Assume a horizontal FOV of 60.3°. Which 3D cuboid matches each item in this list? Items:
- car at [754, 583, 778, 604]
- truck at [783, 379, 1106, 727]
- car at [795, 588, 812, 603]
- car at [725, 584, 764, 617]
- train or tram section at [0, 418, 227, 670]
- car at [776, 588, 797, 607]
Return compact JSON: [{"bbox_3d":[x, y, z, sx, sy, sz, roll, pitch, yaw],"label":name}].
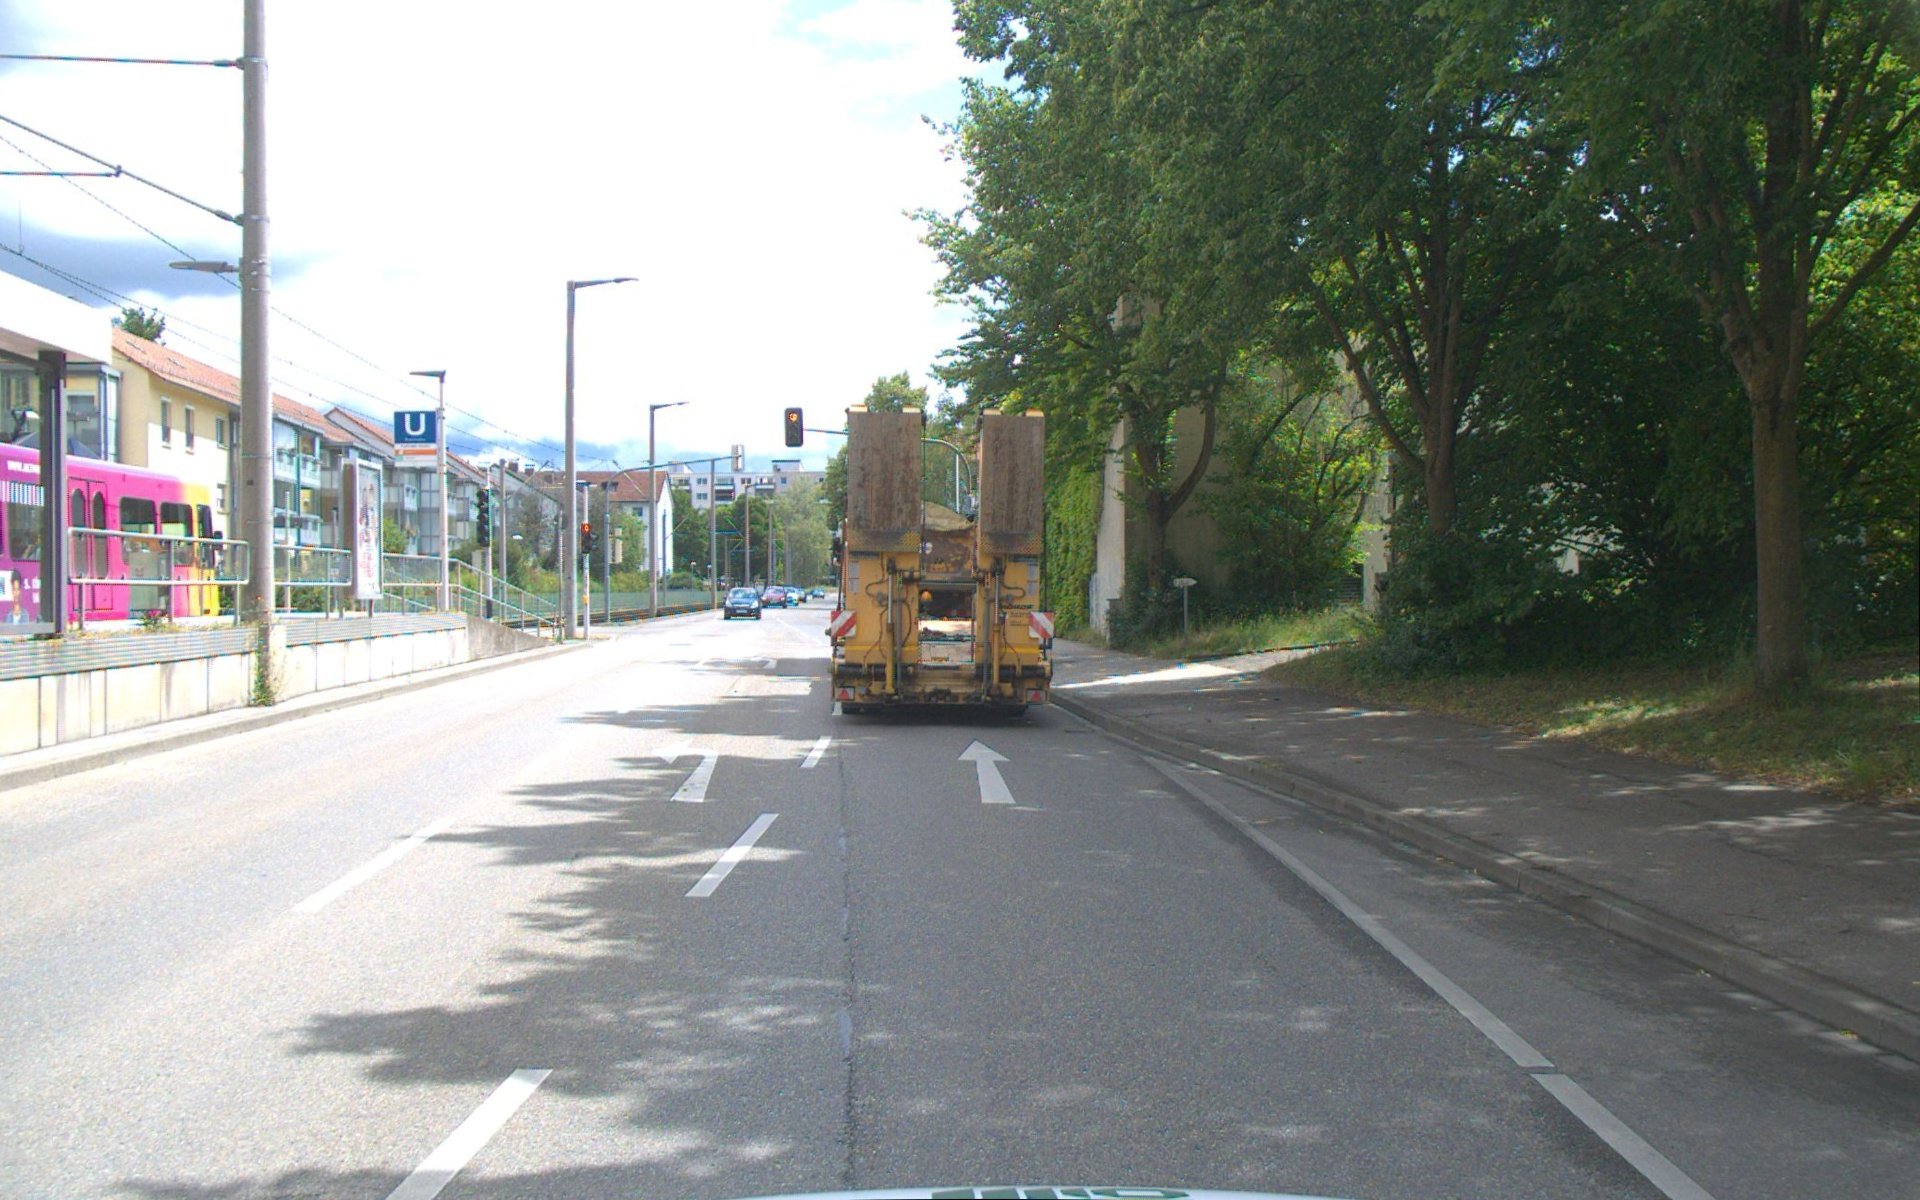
[{"bbox_3d":[-14.408,-0.451,123.141,1.634,1.478,3.675,1,0,-5],"label":"car"},{"bbox_3d":[-0.876,-0.586,25.057,3.338,3.797,13.717,0,1,-7],"label":"truck"},{"bbox_3d":[-16.075,-0.479,170.271,1.634,1.478,3.675,1,0,-5],"label":"car"},{"bbox_3d":[-10.134,0.033,77.860,1.634,1.478,3.675,1,0,-5],"label":"car"},{"bbox_3d":[-14.913,-0.805,22.318,3.047,3.525,19.070,1,0,-5],"label":"train or tram section"},{"bbox_3d":[-14.526,-0.185,138.491,1.634,1.478,3.675,1,0,-5],"label":"car"}]
